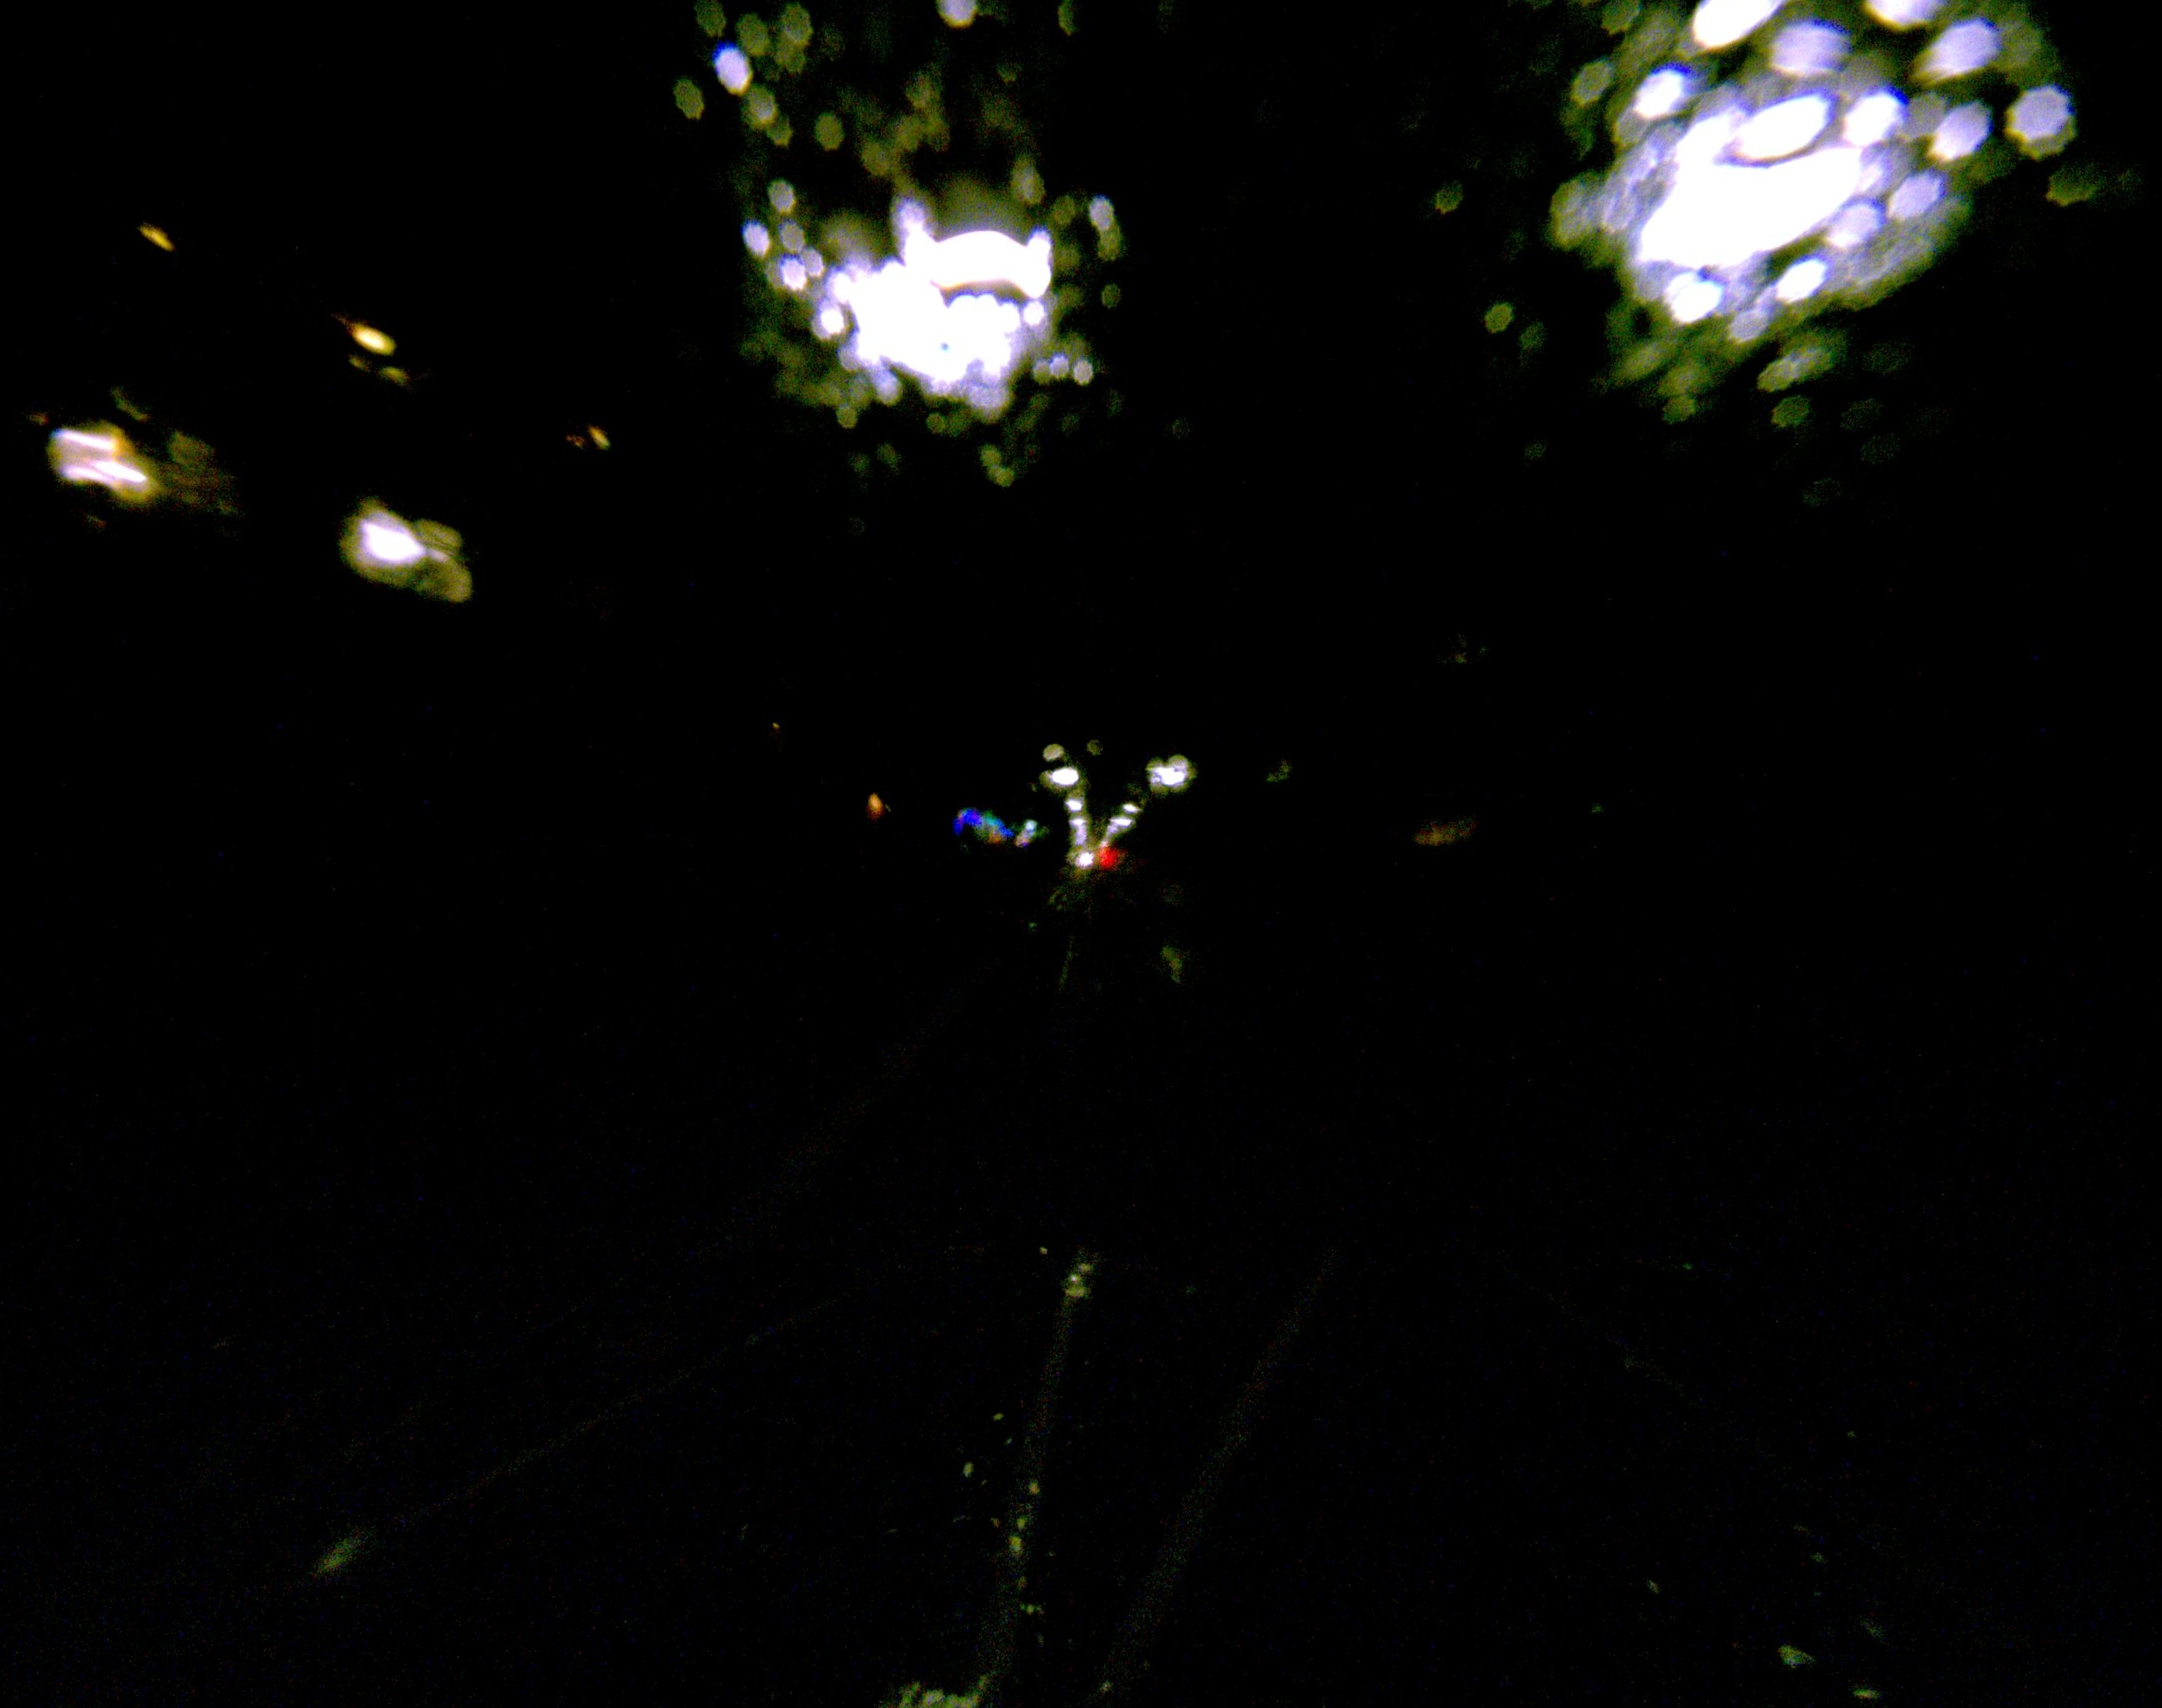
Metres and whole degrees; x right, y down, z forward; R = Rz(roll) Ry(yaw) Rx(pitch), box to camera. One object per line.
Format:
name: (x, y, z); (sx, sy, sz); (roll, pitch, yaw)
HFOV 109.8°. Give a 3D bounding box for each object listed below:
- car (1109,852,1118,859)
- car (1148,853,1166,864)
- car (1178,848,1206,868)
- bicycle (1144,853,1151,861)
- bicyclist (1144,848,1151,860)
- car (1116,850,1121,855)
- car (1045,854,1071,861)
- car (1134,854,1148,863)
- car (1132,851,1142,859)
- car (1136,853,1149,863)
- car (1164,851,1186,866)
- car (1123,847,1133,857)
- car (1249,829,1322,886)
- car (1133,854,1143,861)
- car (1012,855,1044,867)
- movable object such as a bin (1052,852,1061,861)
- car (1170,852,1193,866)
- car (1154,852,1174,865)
car: (7.265, 0.363, 170.442); (1.780, 1.509, 4.051); (-1, 0, 1)
car: (11.284, 0.632, 112.924); (1.893, 1.454, 4.958); (0, 1, -4)
car: (9.979, 0.355, 68.597); (1.974, 1.646, 4.601); (-3, 1, 2)
bicycle: (9.118, 0.435, 104.493); (0.784, 1.076, 1.918); (1, 1, 1)
bicyclist: (9.128, -0.029, 104.480); (0.784, 1.646, 1.206); (1, 1, 1)
car: (12.230, -0.645, 248.598); (1.693, 1.566, 3.918); (-1, 1, 1)
car: (-4.412, 0.665, 144.573); (4.604, 1.467, 1.837); (0, 0, -19)
car: (10.507, 0.813, 132.882); (1.778, 1.432, 4.606); (0, 1, -3)
car: (12.022, 0.125, 164.076); (1.814, 1.569, 4.353); (-4, 0, 1)
car: (11.644, 0.707, 144.526); (2.149, 1.610, 4.588); (-3, 1, 0)
car: (10.680, 0.466, 86.931); (1.988, 1.622, 4.516); (-1, 1, 1)
car: (12.739, -0.541, 206.133); (2.248, 2.494, 5.259); (-3, 1, -2)
car: (9.968, 0.163, 37.632); (2.190, 2.576, 6.393); (-1, 0, 3)
car: (11.575, 0.688, 153.475); (1.735, 1.430, 4.625); (-1, 1, 1)
car: (-7.403, 1.016, 106.360); (4.111, 1.528, 1.956); (-1, 1, -24)
movable object such as a bin: (-4.007, 0.458, 123.003); (1.371, 1.414, 1.073); (1, 1, 6)
car: (10.523, 0.547, 79.634); (1.695, 1.413, 3.913); (0, 0, -2)
car: (10.923, 0.601, 100.615); (1.885, 1.536, 4.398); (-4, 1, -2)
